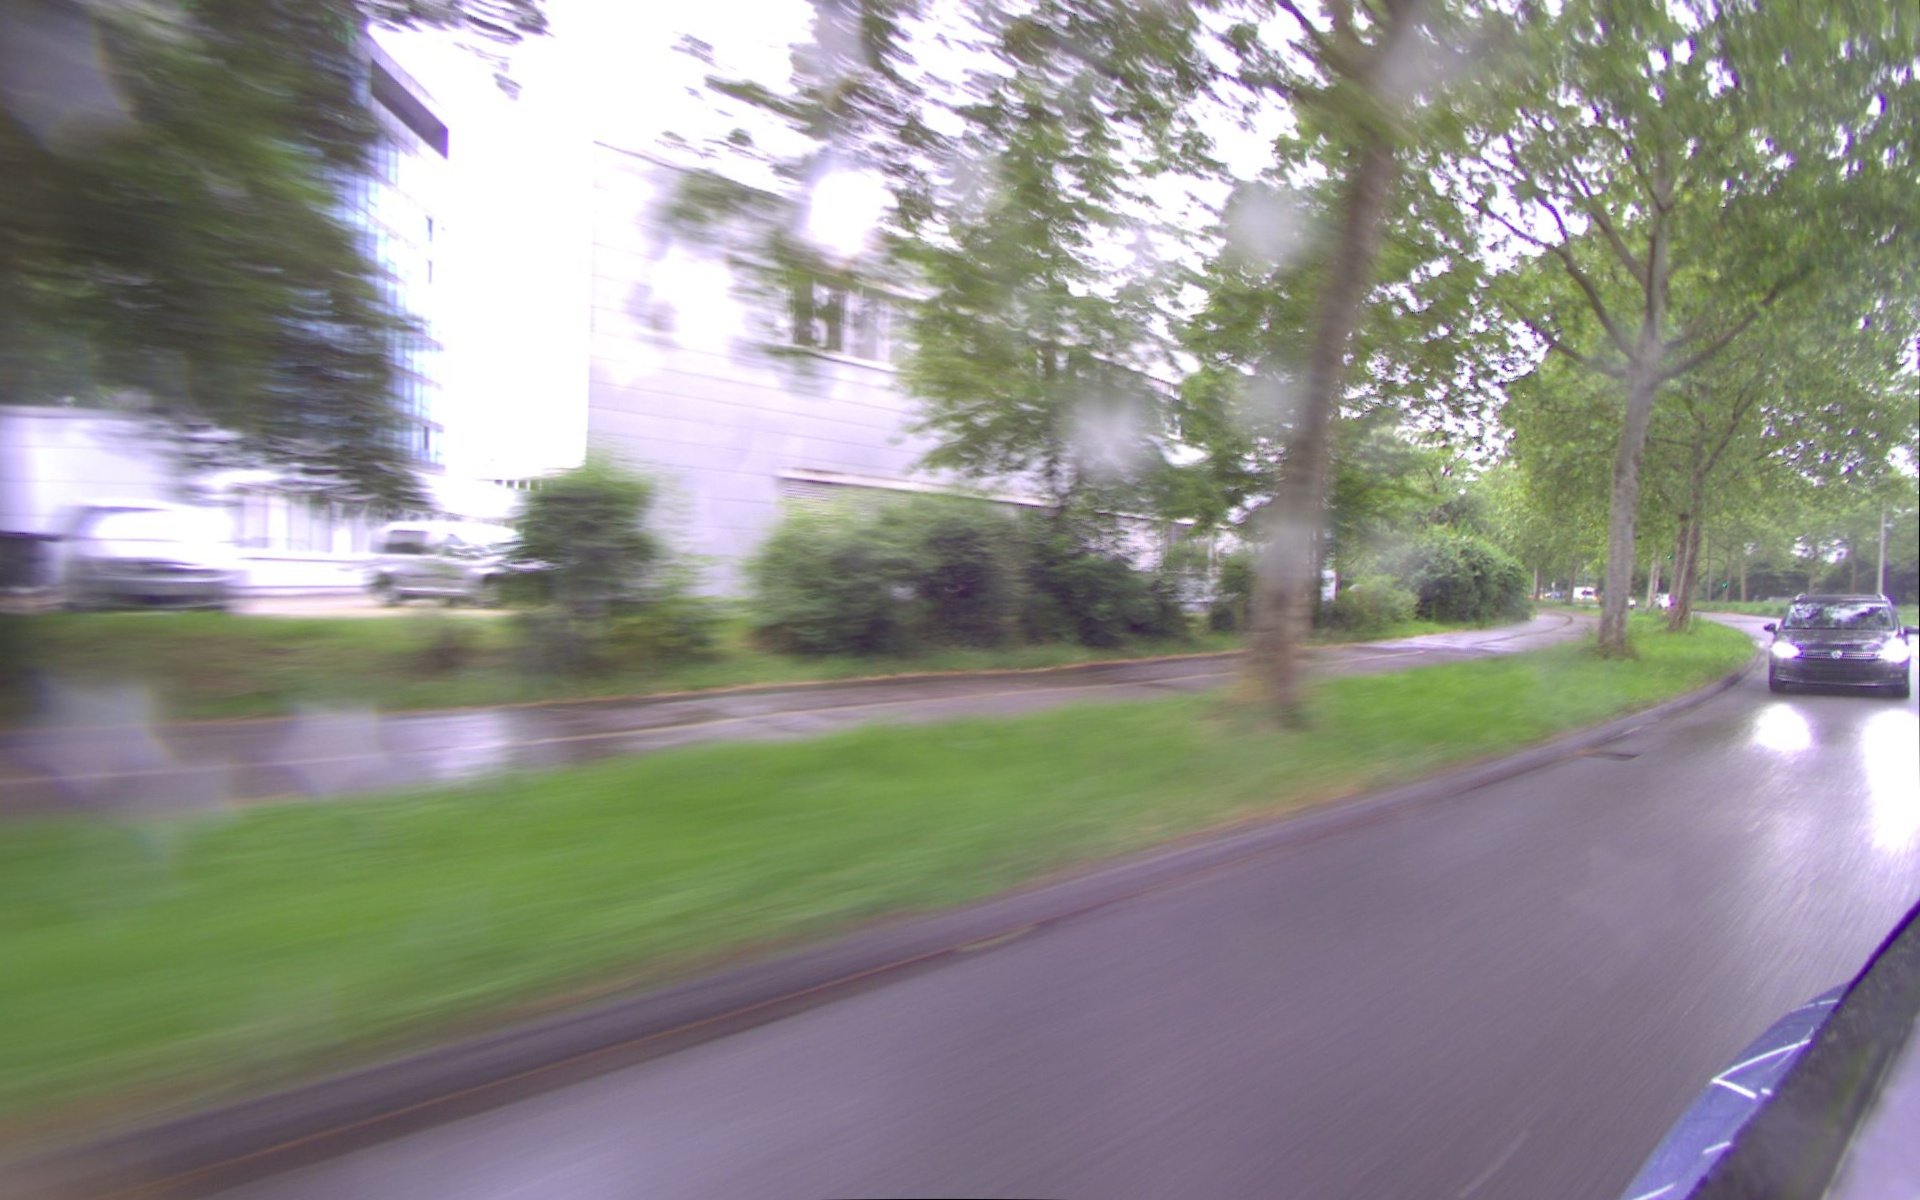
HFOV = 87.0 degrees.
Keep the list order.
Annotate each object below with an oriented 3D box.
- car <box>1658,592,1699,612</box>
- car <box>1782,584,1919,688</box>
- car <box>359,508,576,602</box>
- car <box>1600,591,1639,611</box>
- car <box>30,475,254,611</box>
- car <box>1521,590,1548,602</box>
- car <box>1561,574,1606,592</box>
[{"bbox_3d":[56.650,0.143,79.843,1.765,1.575,3.969,1,1,23],"label":"car"},{"bbox_3d":[15.485,0.562,17.422,1.778,1.575,3.938,-2,-1,43],"label":"car"},{"bbox_3d":[-10.642,-0.914,21.822,4.551,1.854,1.753,1,0,25],"label":"car"},{"bbox_3d":[53.776,0.079,82.573,1.763,1.575,3.974,1,1,20],"label":"car"},{"bbox_3d":[-11.061,-0.667,13.580,4.142,1.501,1.740,1,-2,43],"label":"car"},{"bbox_3d":[95.188,-0.693,167.822,1.907,1.964,5.189,1,1,6],"label":"car"},{"bbox_3d":[88.690,-2.475,144.077,2.241,2.457,6.363,1,1,-2],"label":"car"}]
